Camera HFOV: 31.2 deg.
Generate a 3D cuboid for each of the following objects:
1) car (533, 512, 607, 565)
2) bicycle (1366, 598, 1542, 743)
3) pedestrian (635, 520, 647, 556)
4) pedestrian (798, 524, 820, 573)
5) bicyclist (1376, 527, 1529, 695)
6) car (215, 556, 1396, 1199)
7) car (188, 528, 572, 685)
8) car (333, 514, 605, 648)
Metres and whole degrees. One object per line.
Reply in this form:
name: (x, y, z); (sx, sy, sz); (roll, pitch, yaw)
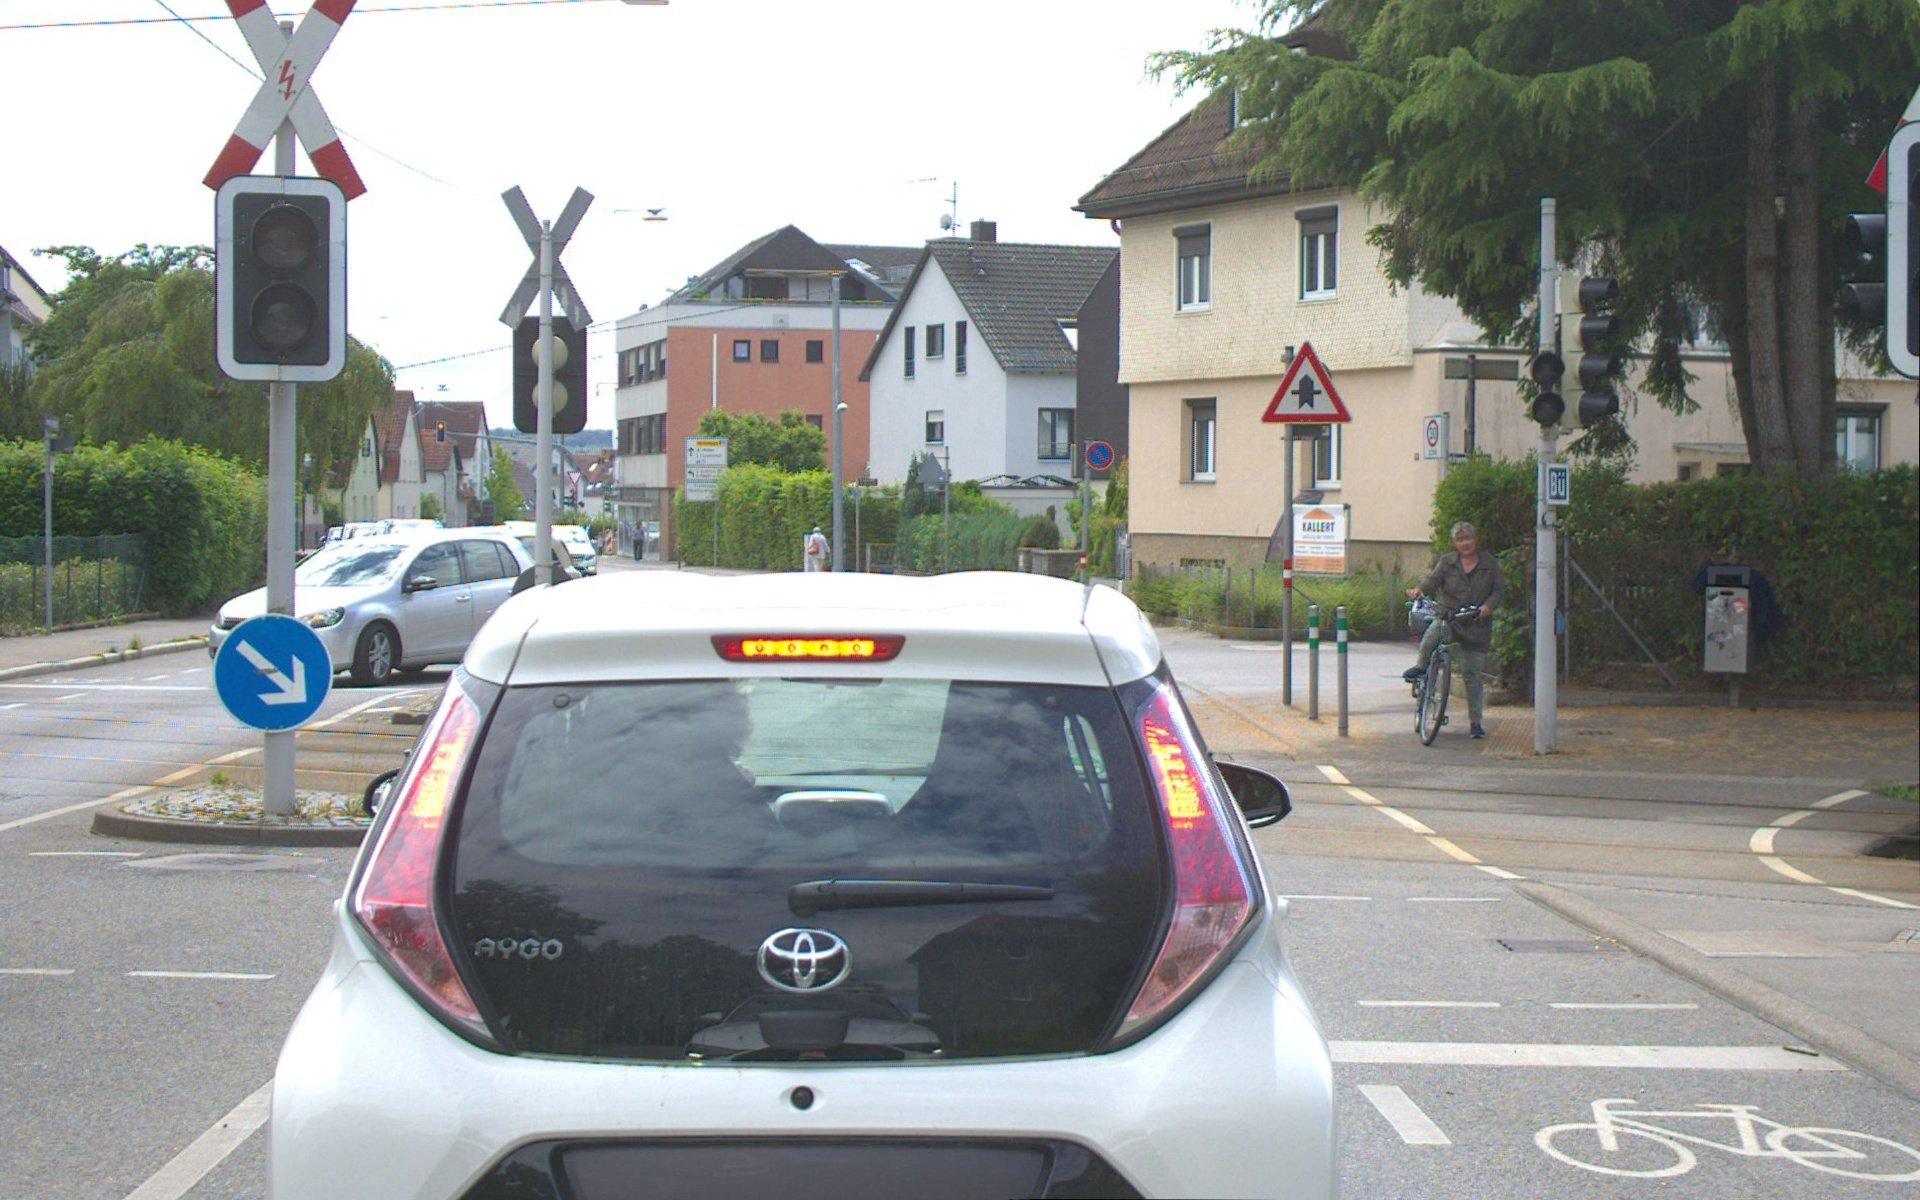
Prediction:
car: (-11.746, -1.870, 103.386); (1.774, 1.556, 4.171); (0, 1, -12)
bicycle: (3.805, 0.517, 26.341); (0.933, 1.037, 1.913); (0, 1, 21)
pedestrian: (-13.023, -2.528, 140.172); (0.413, 1.433, 0.438); (1, 1, -11)
pedestrian: (-4.465, -1.521, 101.620); (0.436, 1.433, 0.414); (0, 2, -40)
bicyclist: (3.770, 0.072, 26.243); (0.933, 1.243, 1.101); (0, 1, 21)
car: (-0.238, 0.667, 6.739); (1.621, 1.481, 4.000); (0, 1, -1)
car: (-5.746, 0.030, 34.521); (1.690, 1.453, 4.064); (0, 1, 27)
car: (-5.772, -0.218, 40.588); (1.579, 1.505, 2.781); (2, 1, 42)
